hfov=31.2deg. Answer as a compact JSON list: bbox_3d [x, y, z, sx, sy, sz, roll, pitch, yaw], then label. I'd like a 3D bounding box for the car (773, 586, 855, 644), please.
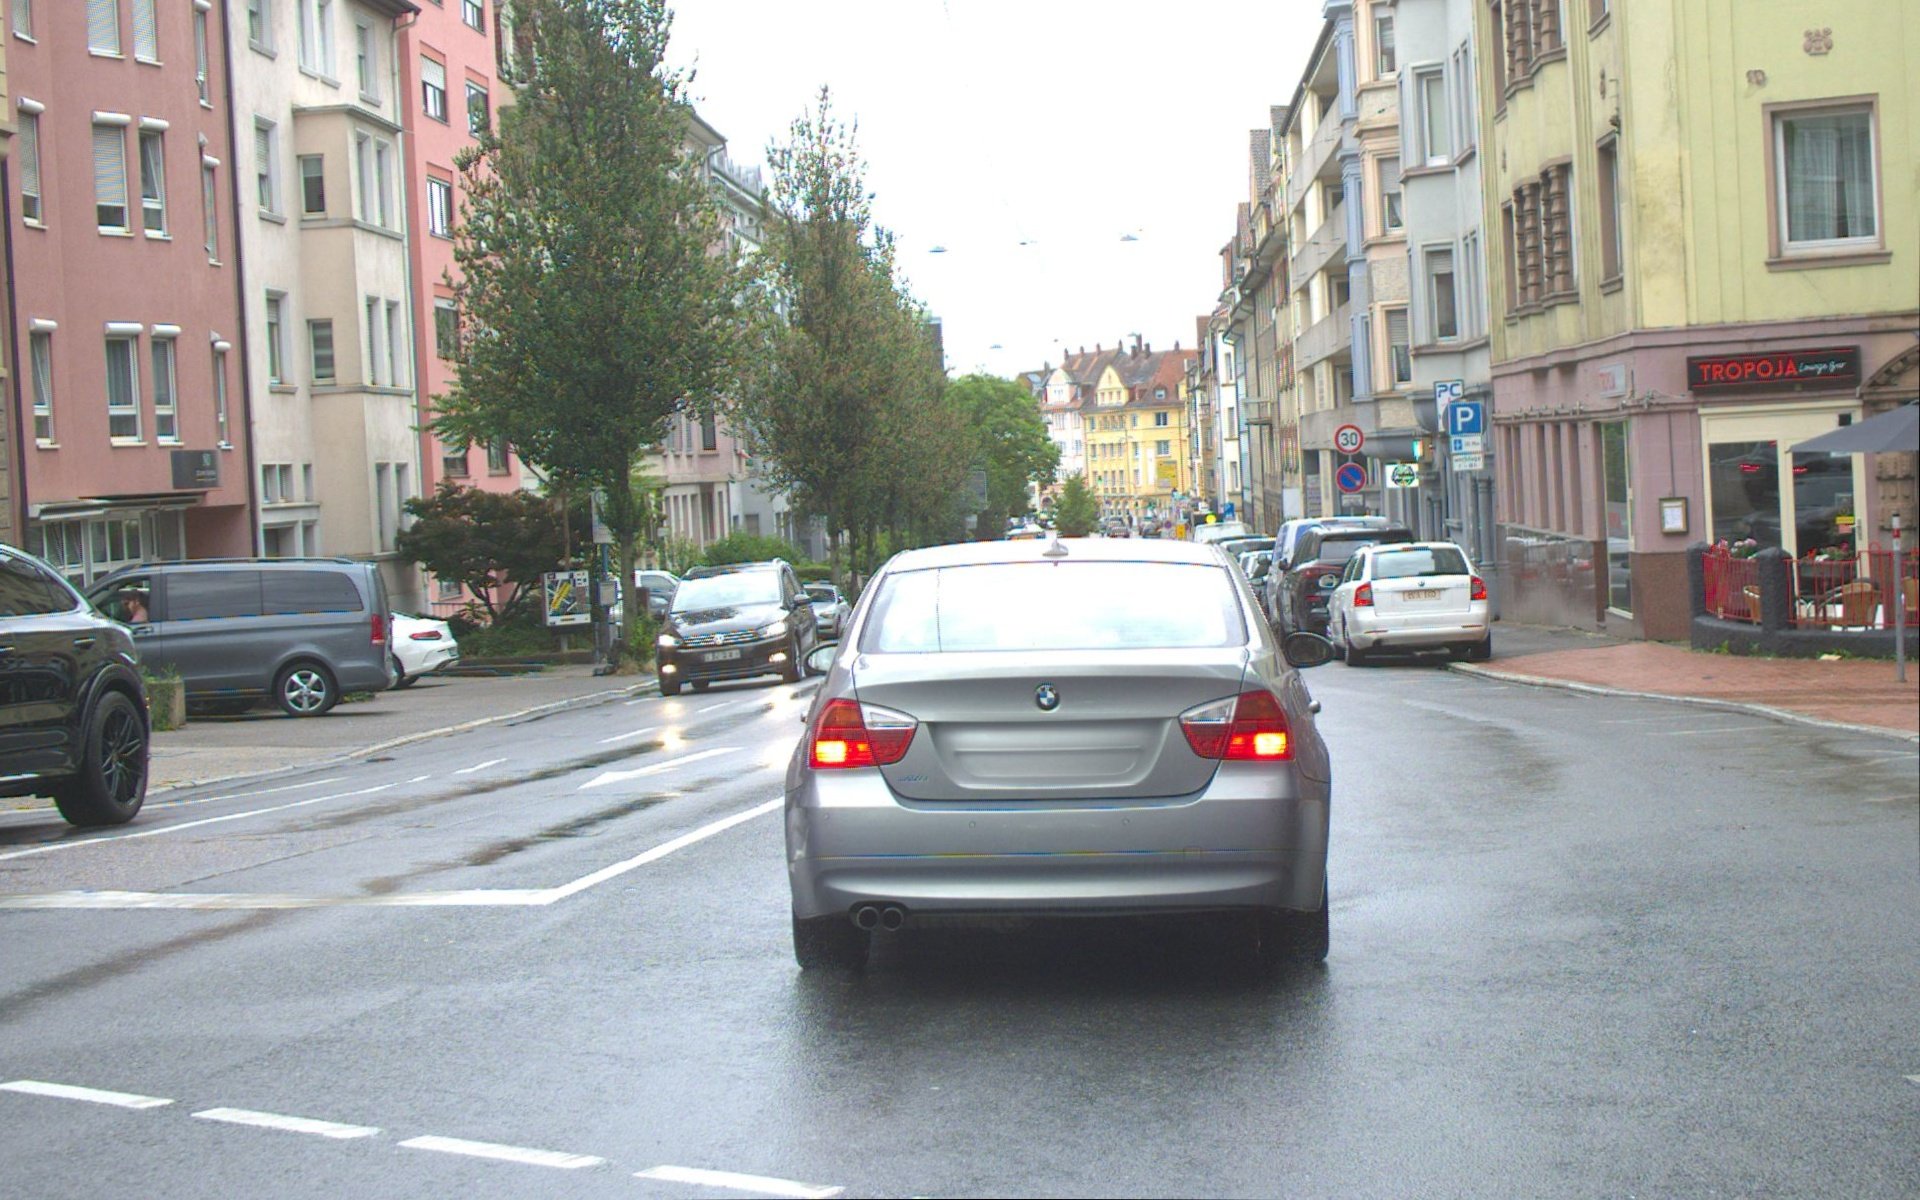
[{"bbox_3d":[-3.826,0.396,90.820,1.726,1.479,3.988,0,0,4],"label":"car"}]

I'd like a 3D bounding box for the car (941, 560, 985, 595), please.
[{"bbox_3d":[0.161,-1.062,161.609,1.691,1.518,3.736,-4,0,4],"label":"car"}]

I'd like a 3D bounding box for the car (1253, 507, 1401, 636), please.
[{"bbox_3d":[5.693,-0.438,53.900,1.919,1.821,5.009,-3,0,3],"label":"car"}]

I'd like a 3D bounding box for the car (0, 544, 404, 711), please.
[{"bbox_3d":[-9.142,0.304,41.566,4.673,1.932,1.864,0,1,-6],"label":"car"}]

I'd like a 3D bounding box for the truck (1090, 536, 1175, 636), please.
[{"bbox_3d":[4.299,-0.337,86.403,2.032,2.404,4.826,-1,0,2],"label":"truck"}]

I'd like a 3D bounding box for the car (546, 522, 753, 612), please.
[{"bbox_3d":[-7.743,-0.813,86.020,4.829,1.967,2.048,-3,0,3],"label":"car"}]

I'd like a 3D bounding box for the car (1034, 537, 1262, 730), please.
[{"bbox_3d":[1.539,0.247,27.656,1.682,1.423,3.740,-1,0,4],"label":"car"}]

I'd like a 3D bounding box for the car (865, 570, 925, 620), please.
[{"bbox_3d":[-2.255,-0.190,119.690,1.767,1.588,4.000,-4,0,2],"label":"car"}]

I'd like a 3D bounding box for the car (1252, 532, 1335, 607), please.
[{"bbox_3d":[8.248,-0.752,85.409,1.726,1.664,4.288,-4,0,3],"label":"car"}]

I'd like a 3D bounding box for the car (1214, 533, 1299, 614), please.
[{"bbox_3d":[7.923,-0.706,92.283,1.982,2.000,4.624,-3,0,3],"label":"car"}]

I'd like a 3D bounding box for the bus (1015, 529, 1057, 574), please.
[{"bbox_3d":[5.496,-3.465,248.563,2.669,3.014,7.670,-3,0,3],"label":"bus"}]

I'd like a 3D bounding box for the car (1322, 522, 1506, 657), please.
[{"bbox_3d":[5.556,-0.133,42.510,1.799,1.559,4.492,-1,0,2],"label":"car"}]

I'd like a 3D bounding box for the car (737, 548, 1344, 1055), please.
[{"bbox_3d":[0.394,0.568,11.959,1.769,1.423,3.740,-1,2,5],"label":"car"}]

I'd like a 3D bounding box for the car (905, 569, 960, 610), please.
[{"bbox_3d":[-1.114,-0.452,140.903,1.828,1.518,3.736,-4,0,4],"label":"car"}]

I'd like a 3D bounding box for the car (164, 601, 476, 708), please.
[{"bbox_3d":[-10.184,0.860,54.885,4.548,1.396,1.767,-3,0,3],"label":"car"}]

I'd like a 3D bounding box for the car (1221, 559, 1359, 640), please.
[{"bbox_3d":[6.254,-0.010,65.643,1.875,1.462,4.775,-1,0,-3],"label":"car"}]

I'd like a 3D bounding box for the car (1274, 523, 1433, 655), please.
[{"bbox_3d":[5.419,-0.161,47.850,1.879,1.725,4.676,-1,0,3],"label":"car"}]

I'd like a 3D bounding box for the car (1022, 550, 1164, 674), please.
[{"bbox_3d":[1.724,0.149,43.723,1.697,1.478,3.793,-1,0,3],"label":"car"}]

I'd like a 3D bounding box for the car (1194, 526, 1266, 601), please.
[{"bbox_3d":[8.370,-1.128,106.940,1.982,2.158,4.749,-3,0,3],"label":"car"}]

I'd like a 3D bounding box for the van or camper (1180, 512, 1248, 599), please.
[{"bbox_3d":[8.710,-1.508,117.431,2.034,2.859,6.883,1,1,7],"label":"van or camper"}]

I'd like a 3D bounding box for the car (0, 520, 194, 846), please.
[{"bbox_3d":[-5.943,0.453,17.992,1.966,1.687,4.805,-2,-1,11],"label":"car"}]

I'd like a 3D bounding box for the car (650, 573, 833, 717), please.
[{"bbox_3d":[-2.794,0.546,44.879,1.621,1.643,4.419,-5,0,5],"label":"car"}]

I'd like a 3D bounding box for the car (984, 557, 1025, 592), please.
[{"bbox_3d":[2.110,-1.192,162.499,1.636,1.503,3.754,-5,0,3],"label":"car"}]
